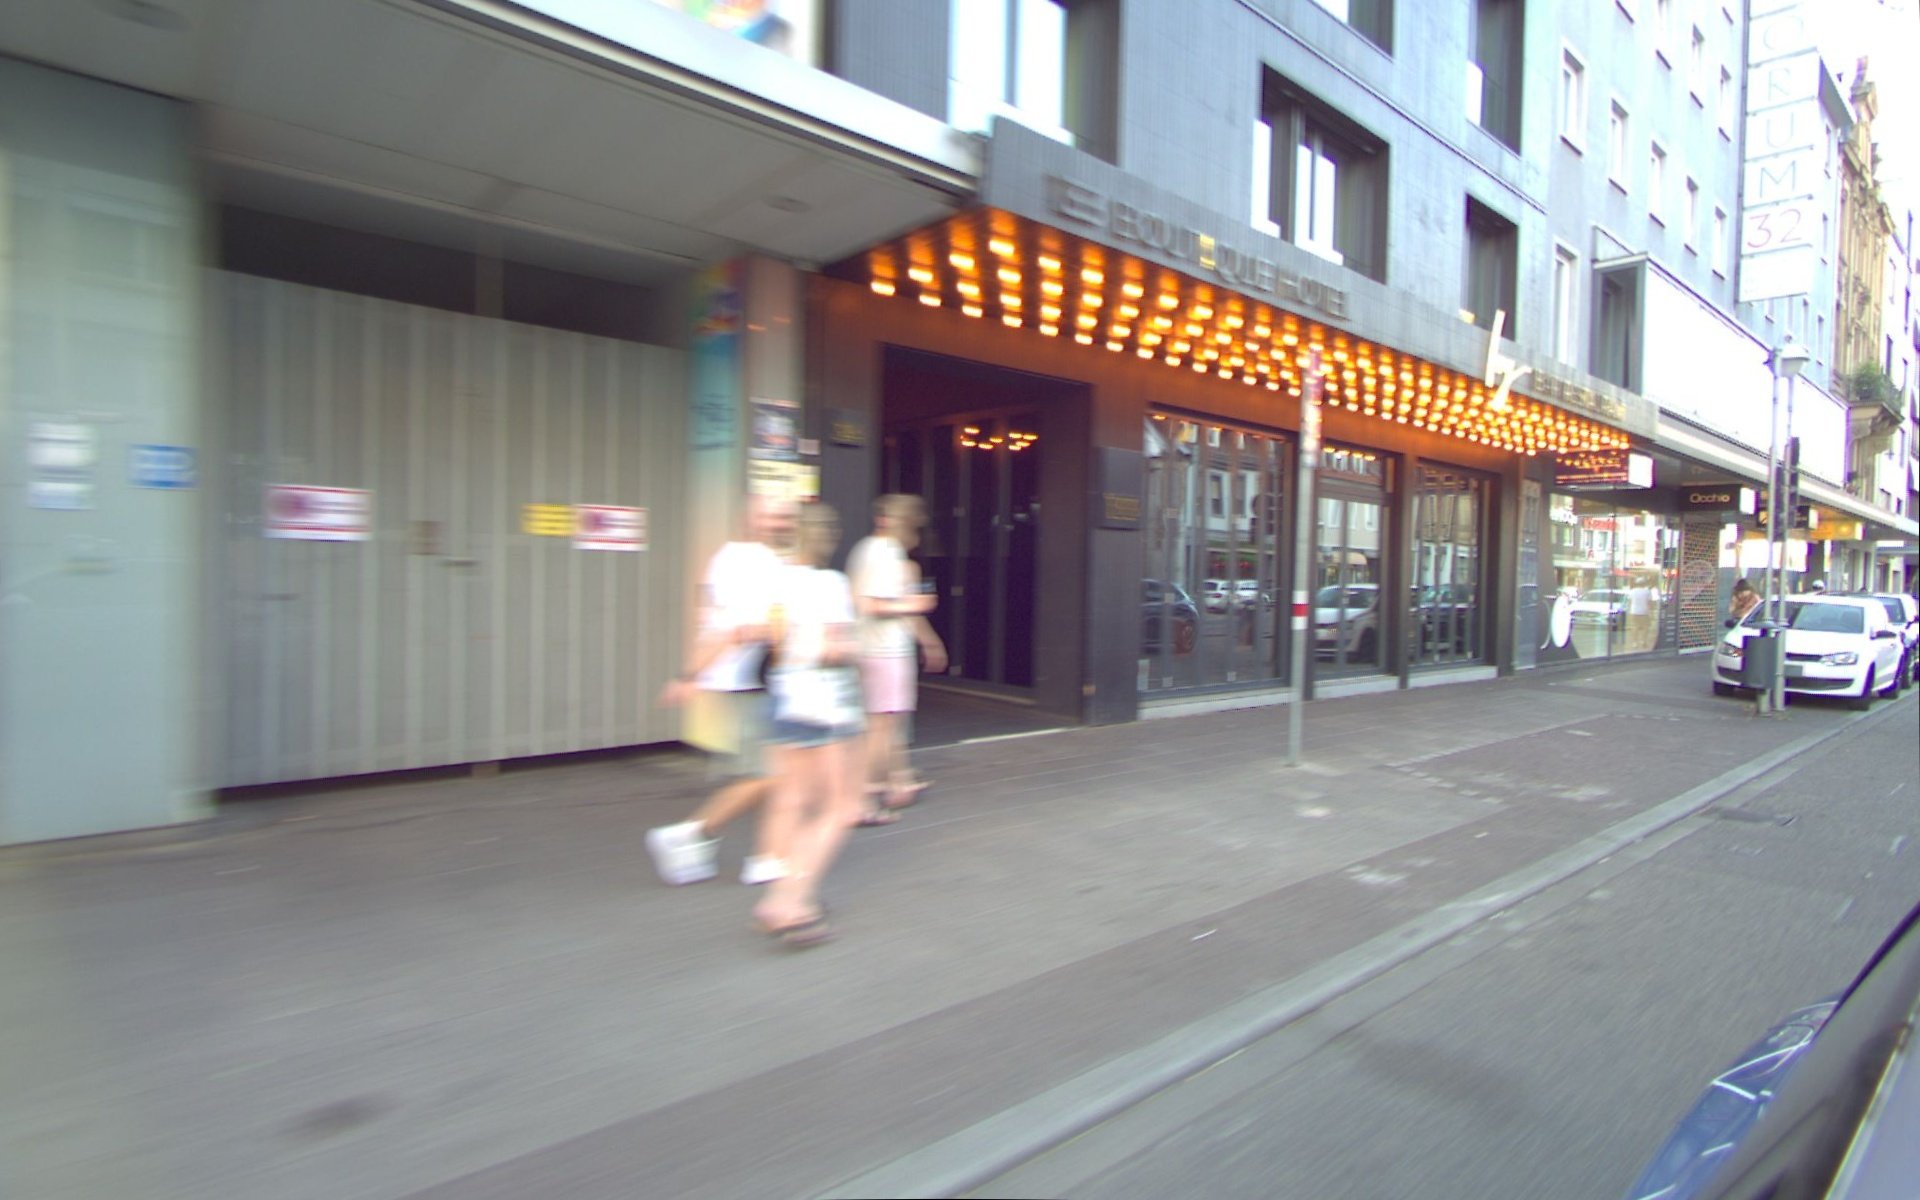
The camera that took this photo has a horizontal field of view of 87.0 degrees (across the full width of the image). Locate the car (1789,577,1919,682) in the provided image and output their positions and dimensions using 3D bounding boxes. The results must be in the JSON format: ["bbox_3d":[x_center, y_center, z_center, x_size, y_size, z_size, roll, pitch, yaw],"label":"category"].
[{"bbox_3d":[15.929,0.428,17.610,3.965,1.594,1.672,0,2,-41],"label":"car"}]

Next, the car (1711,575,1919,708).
[{"bbox_3d":[12.183,0.485,14.270,3.817,1.561,1.682,0,3,-40],"label":"car"}]

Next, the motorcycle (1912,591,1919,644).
[{"bbox_3d":[26.452,0.484,27.109,1.478,1.394,0.576,1,1,-11],"label":"motorcycle"}]

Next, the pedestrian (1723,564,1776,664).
[{"bbox_3d":[14.442,0.239,18.508,0.594,1.775,0.610,0,2,-41],"label":"pedestrian"}]

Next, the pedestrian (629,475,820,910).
[{"bbox_3d":[-1.062,0.366,4.538,0.594,1.775,0.610,0,2,-41],"label":"pedestrian"}]

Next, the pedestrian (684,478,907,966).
[{"bbox_3d":[-0.664,0.427,4.052,0.635,1.748,0.605,0,2,-41],"label":"pedestrian"}]

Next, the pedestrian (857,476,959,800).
[{"bbox_3d":[-0.326,0.216,6.301,0.414,1.922,0.452,0,2,-41],"label":"pedestrian"}]

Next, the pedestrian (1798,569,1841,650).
[{"bbox_3d":[19.342,0.200,22.778,0.594,1.775,0.610,0,2,-41],"label":"pedestrian"}]

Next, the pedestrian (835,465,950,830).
[{"bbox_3d":[-0.376,0.244,5.625,0.414,1.922,0.456,0,2,-41],"label":"pedestrian"}]

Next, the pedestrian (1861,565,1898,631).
[{"bbox_3d":[28.792,-0.072,31.695,0.810,2.038,0.711,0,2,-41],"label":"pedestrian"}]
